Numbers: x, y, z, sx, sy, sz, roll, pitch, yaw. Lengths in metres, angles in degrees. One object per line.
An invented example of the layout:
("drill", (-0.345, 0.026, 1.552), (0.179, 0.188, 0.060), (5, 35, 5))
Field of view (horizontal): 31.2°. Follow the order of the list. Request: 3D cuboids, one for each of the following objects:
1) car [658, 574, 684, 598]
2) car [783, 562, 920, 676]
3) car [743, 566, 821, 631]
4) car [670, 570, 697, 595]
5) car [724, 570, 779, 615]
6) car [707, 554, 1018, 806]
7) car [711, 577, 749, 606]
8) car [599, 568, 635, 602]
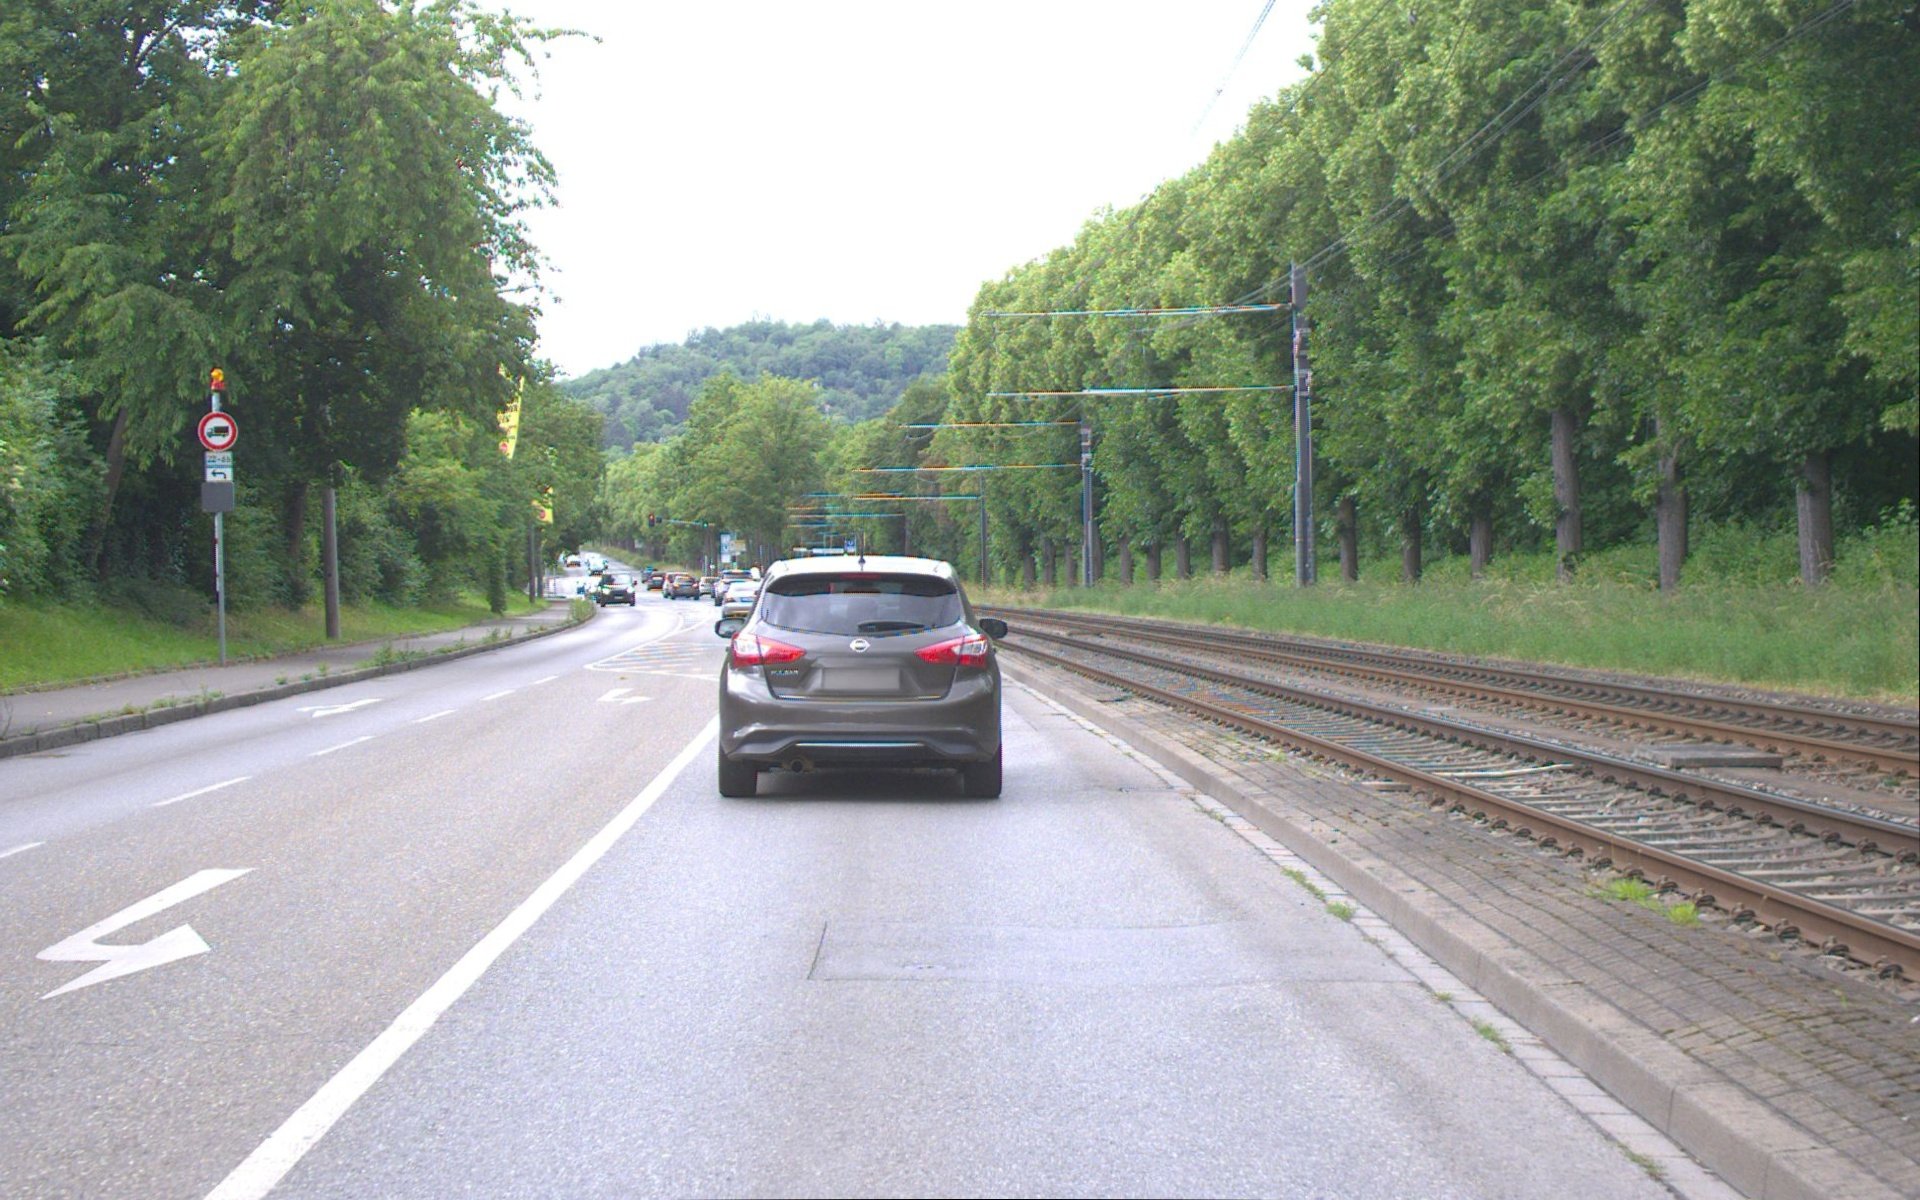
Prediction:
("car", (-21.164, -1.036, 251.631), (1.699, 1.708, 4.000), (0, 0, -2))
("car", (-1.480, 0.233, 45.562), (1.699, 1.439, 4.000), (0, 0, -3))
("car", (-4.078, -0.044, 79.205), (1.699, 1.439, 4.000), (0, 0, -2))
("car", (-19.209, -1.221, 238.744), (1.699, 1.708, 4.000), (0, 0, -2))
("car", (-6.789, -0.241, 112.148), (1.699, 1.439, 4.000), (0, 0, -2))
("car", (-0.619, 0.460, 22.674), (1.850, 1.488, 4.000), (1, 1, -1))
("car", (-11.738, -0.436, 175.570), (1.794, 1.505, 4.000), (0, 0, -2))
("car", (-20.325, -0.888, 203.780), (1.993, 2.029, 5.117), (0, 0, -4))
